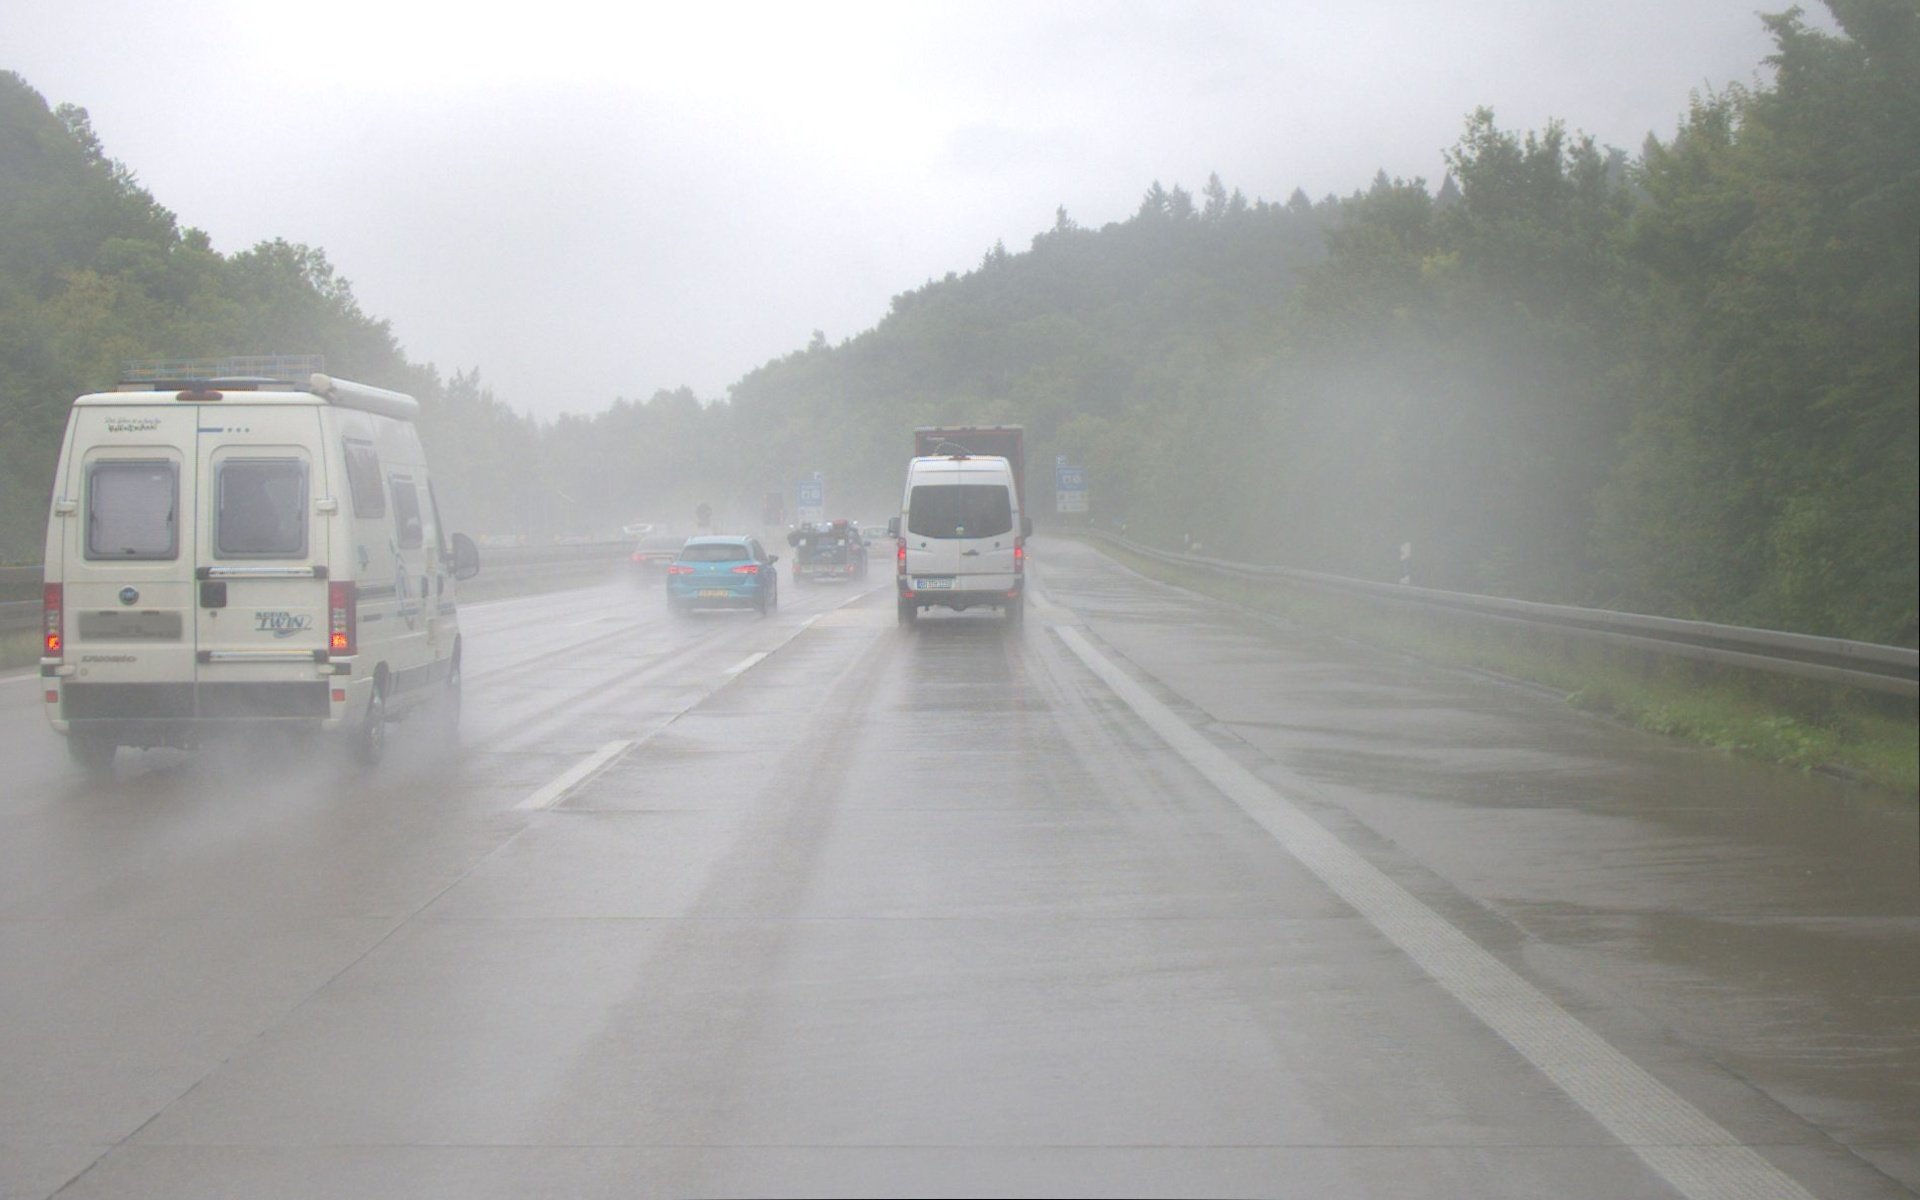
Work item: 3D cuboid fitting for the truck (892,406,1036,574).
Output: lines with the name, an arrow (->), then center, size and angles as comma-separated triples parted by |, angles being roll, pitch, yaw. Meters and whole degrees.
truck -> 0.084, -2.843, 85.804 | 3.385, 3.954, 8.668 | 0, 3, 0

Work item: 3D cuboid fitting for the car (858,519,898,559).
car -> -3.422, -2.554, 143.558 | 1.614, 1.622, 4.189 | 1, 1, -1

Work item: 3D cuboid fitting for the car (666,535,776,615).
car -> -4.205, -0.467, 60.972 | 1.856, 1.334, 4.352 | 1, 1, -3

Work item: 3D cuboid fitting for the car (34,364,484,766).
car -> -4.667, -0.280, 23.808 | 1.997, 2.423, 5.791 | 1, 1, -1

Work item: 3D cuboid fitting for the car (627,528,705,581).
car -> -7.762, -1.214, 90.959 | 1.856, 1.334, 4.352 | 1, 1, -3

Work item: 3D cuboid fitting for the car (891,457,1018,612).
car -> -0.127, -1.053, 54.893 | 1.899, 2.326, 5.251 | 1, 1, -1

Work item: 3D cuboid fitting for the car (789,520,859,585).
car -> -3.835, -1.371, 97.689 | 1.868, 1.803, 4.189 | 1, 1, -1
